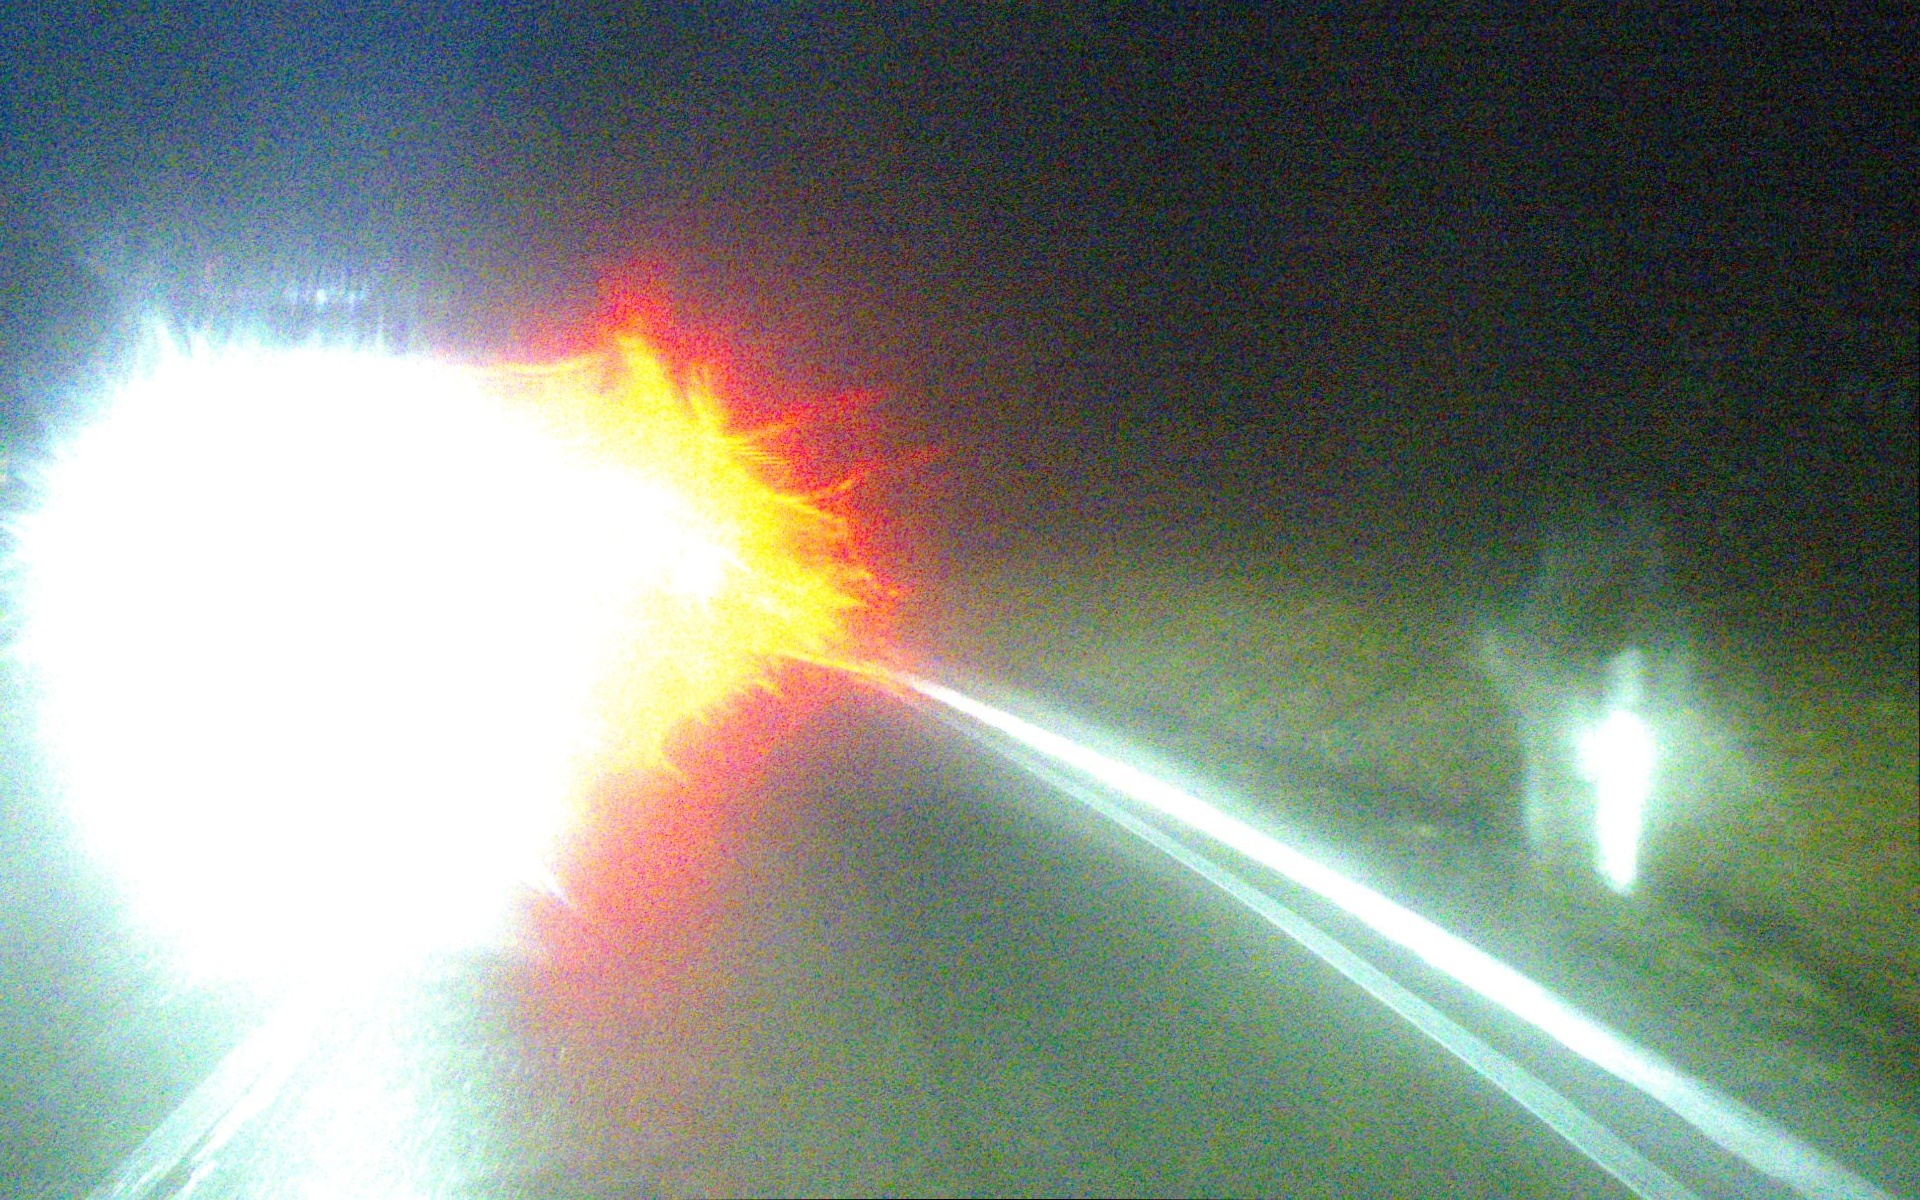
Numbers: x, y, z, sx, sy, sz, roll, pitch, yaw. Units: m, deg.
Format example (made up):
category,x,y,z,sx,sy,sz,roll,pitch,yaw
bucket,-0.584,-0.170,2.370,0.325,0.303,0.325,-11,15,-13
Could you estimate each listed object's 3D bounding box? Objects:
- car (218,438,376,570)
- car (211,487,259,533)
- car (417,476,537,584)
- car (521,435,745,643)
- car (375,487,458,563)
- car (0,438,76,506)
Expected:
category,x,y,z,sx,sy,sz,roll,pitch,yaw
car,-8.048,-1.199,41.966,1.635,1.504,4.097,-1,2,-8
car,-31.059,-3.861,147.279,1.753,1.728,4.002,2,3,-15
car,-9.681,-1.367,68.687,1.993,2.007,4.001,2,0,-12
car,-4.324,-0.883,44.626,2.538,2.489,5.717,0,3,-9
car,-13.311,-1.811,84.077,1.740,1.708,3.701,2,0,-12
car,-25.355,-3.296,88.587,4.910,1.728,2.001,-1,3,-16
